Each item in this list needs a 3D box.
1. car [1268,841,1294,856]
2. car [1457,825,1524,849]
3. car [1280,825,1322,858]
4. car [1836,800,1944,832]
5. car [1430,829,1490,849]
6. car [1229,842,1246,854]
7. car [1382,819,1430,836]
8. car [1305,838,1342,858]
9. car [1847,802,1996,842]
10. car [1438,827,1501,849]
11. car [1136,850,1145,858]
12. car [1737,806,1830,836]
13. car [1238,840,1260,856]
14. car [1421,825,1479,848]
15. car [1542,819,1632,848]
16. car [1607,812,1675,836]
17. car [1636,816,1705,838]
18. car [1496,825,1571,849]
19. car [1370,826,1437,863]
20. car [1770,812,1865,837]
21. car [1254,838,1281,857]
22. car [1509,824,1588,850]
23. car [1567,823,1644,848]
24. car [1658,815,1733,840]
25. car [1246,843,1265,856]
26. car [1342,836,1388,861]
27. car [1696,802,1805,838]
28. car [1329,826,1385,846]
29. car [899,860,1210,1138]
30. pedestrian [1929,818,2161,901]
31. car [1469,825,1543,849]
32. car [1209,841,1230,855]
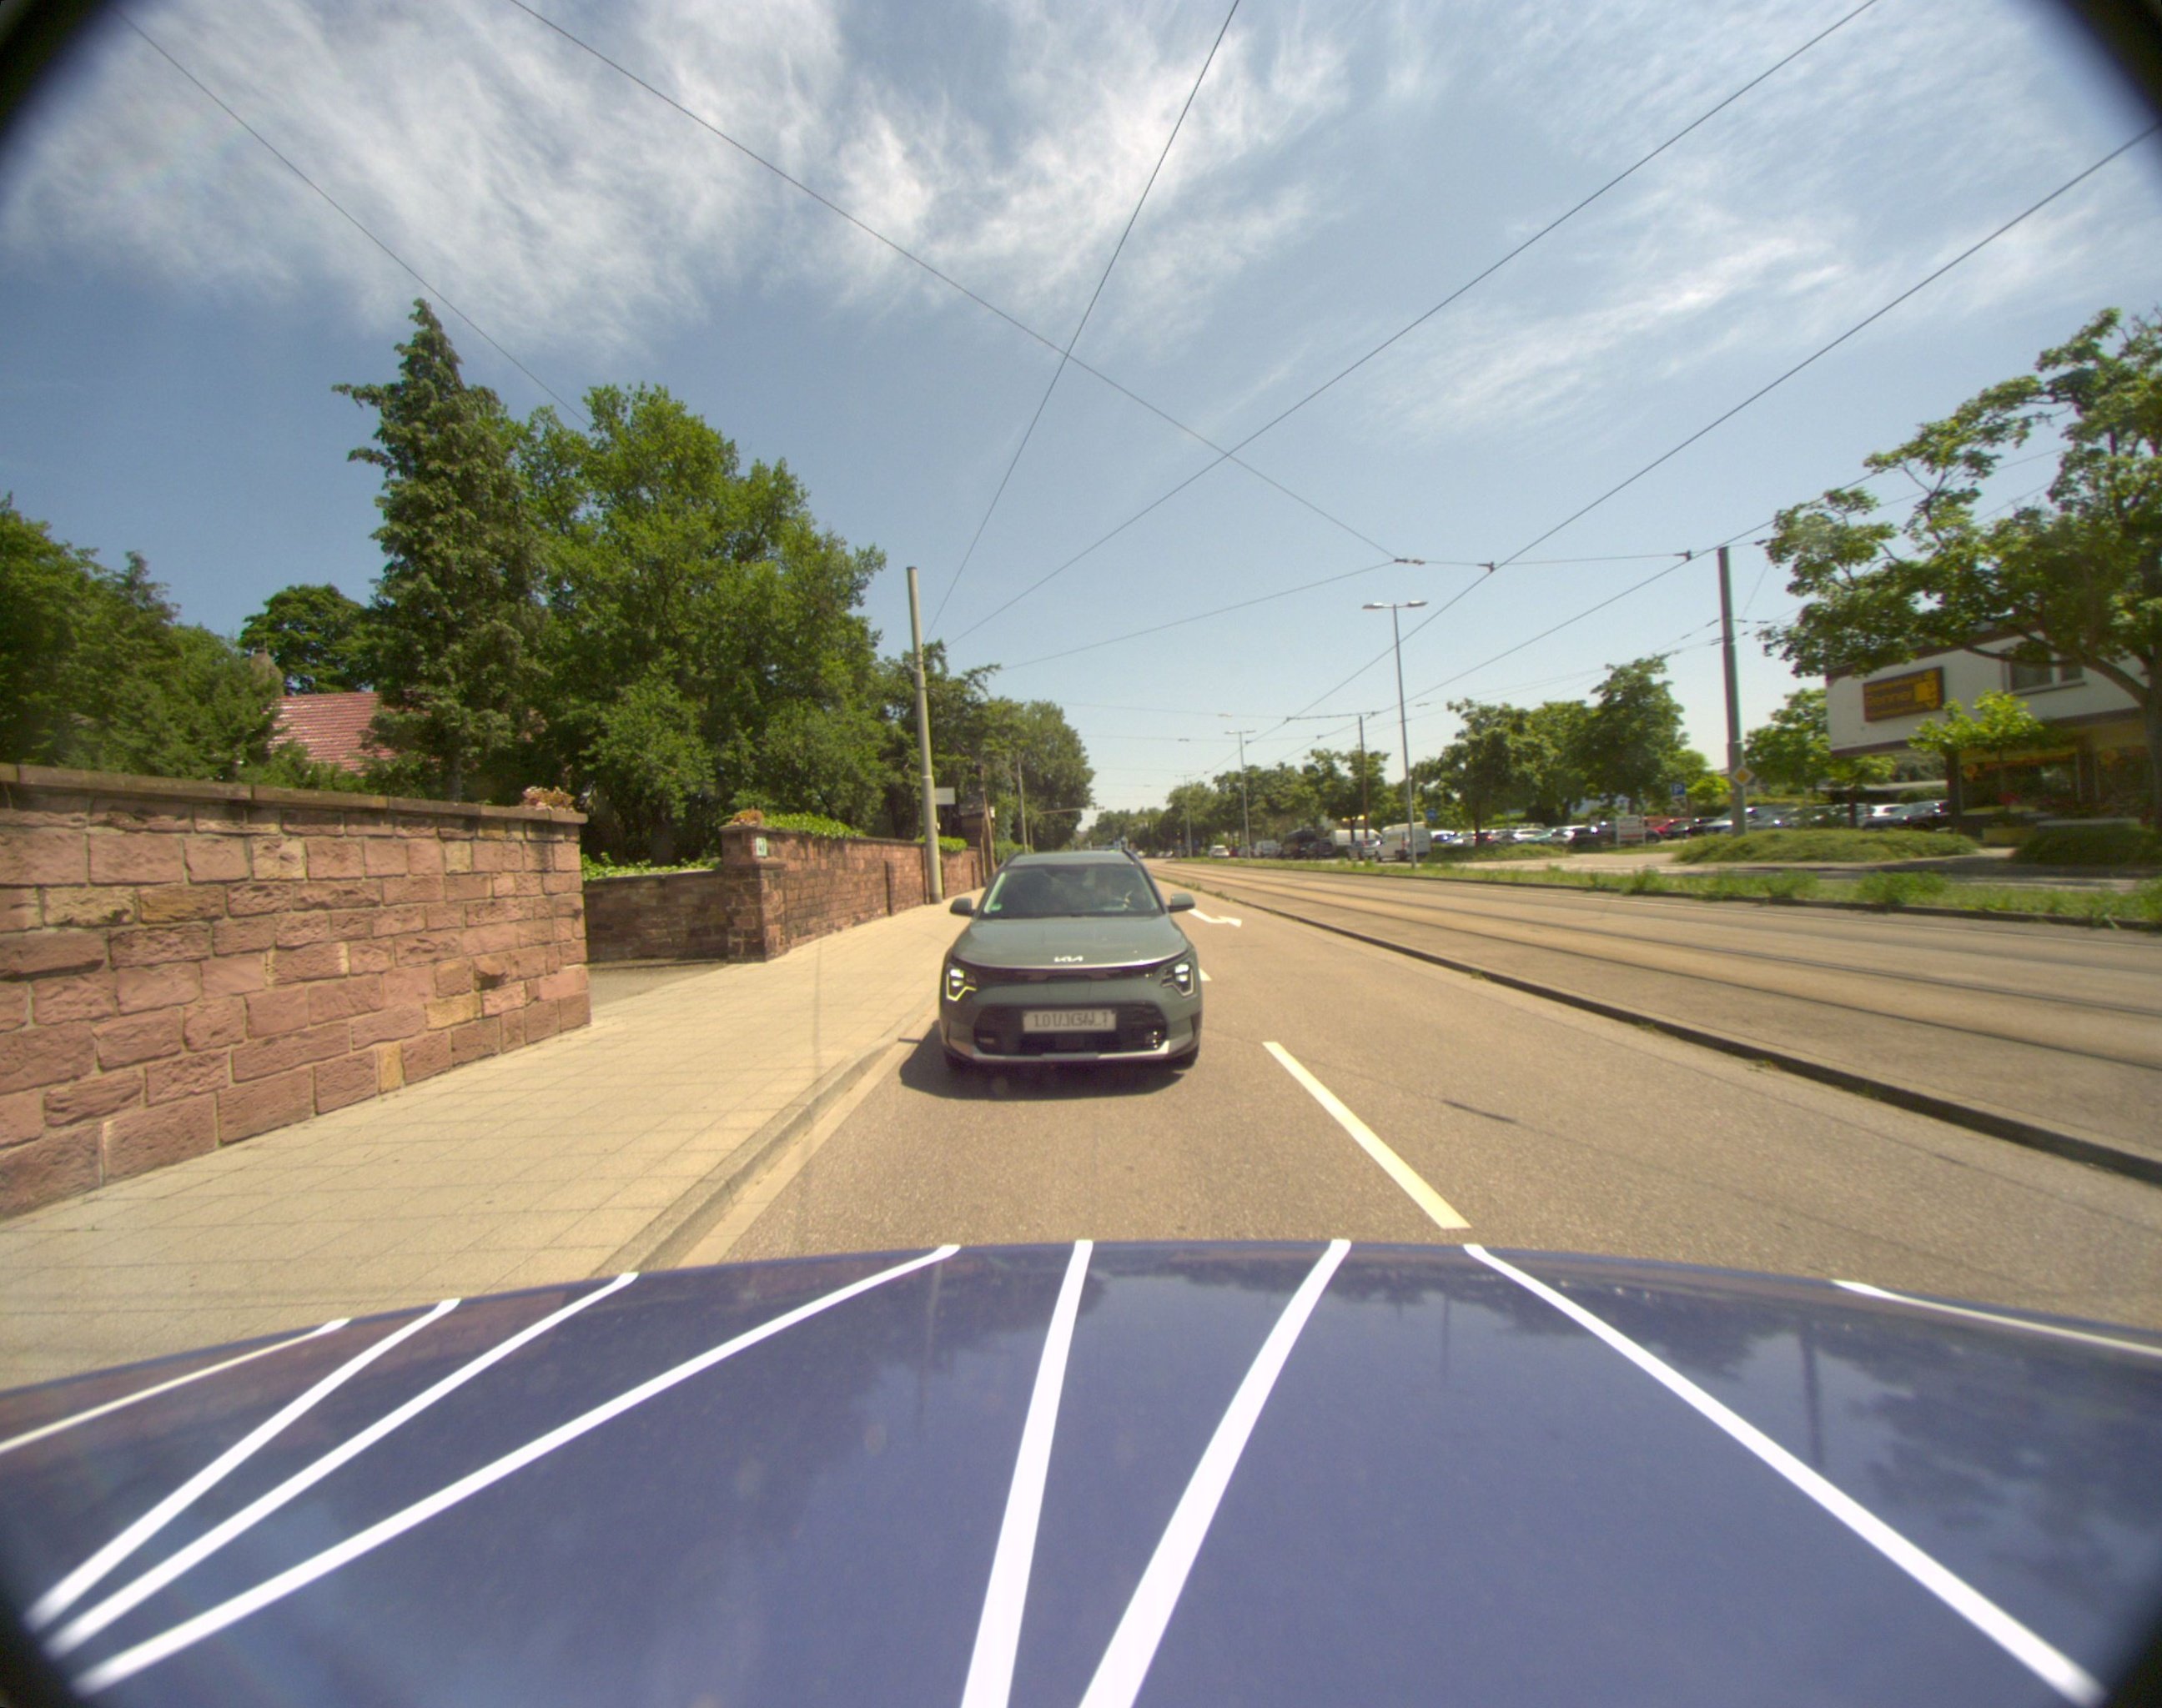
[{"bbox_3d":[20.517,-0.555,78.030,1.767,1.456,3.608,-2,1,2],"label":"car"},{"bbox_3d":[30.810,-1.259,57.164,4.075,1.481,1.831,-3,1,-6],"label":"car"},{"bbox_3d":[20.177,-1.125,69.970,2.244,2.822,5.667,-2,1,1],"label":"car"},{"bbox_3d":[43.877,-2.032,41.276,3.996,1.511,1.661,-2,1,3],"label":"car"},{"bbox_3d":[31.114,-1.233,62.421,3.998,1.398,1.797,-2,0,-3],"label":"car"},{"bbox_3d":[20.667,-0.822,100.617,1.582,1.472,3.423,-2,1,2],"label":"car"},{"bbox_3d":[44.588,-3.604,104.312,5.744,2.051,2.147,-2,1,-2],"label":"car"},{"bbox_3d":[20.260,-0.515,63.614,1.976,1.568,3.751,-2,1,1],"label":"car"},{"bbox_3d":[34.035,-1.281,30.842,3.996,1.289,1.682,-4,0,2],"label":"car"},{"bbox_3d":[30.459,-1.275,59.657,3.999,1.479,1.866,-3,0,-6],"label":"car"},{"bbox_3d":[15.408,-0.025,197.174,1.821,1.979,4.212,-2,1,-3],"label":"car"},{"bbox_3d":[43.234,-2.030,46.838,3.996,1.647,1.803,-2,1,3],"label":"car"},{"bbox_3d":[20.755,-0.775,94.115,1.635,1.882,4.496,-2,1,0],"label":"car"},{"bbox_3d":[31.559,-1.494,65.074,3.998,1.708,1.797,-3,1,-3],"label":"car"},{"bbox_3d":[31.093,-1.224,46.781,4.172,1.481,1.984,-3,0,-1],"label":"car"},{"bbox_3d":[43.680,-2.349,59.274,4.129,1.643,1.692,-3,1,-5],"label":"car"},{"bbox_3d":[44.183,-2.023,56.997,3.999,1.486,1.715,-2,1,-5],"label":"car"},{"bbox_3d":[30.890,-1.173,51.921,4.146,1.481,1.859,-2,1,-6],"label":"car"},{"bbox_3d":[20.015,-0.604,47.436,1.880,1.999,5.344,-6,1,1],"label":"car"},{"bbox_3d":[42.728,-1.712,44.141,3.724,1.277,1.764,-2,1,3],"label":"car"},{"bbox_3d":[20.486,-0.748,83.731,1.924,1.937,4.816,-2,1,2],"label":"car"},{"bbox_3d":[30.369,-1.085,49.465,4.040,1.481,1.911,-2,1,-6],"label":"car"},{"bbox_3d":[30.501,-1.039,44.213,3.423,1.225,1.643,-3,0,-6],"label":"car"},{"bbox_3d":[43.840,-1.896,54.270,3.997,1.576,1.684,-2,1,-1],"label":"car"},{"bbox_3d":[20.526,-0.502,89.423,1.429,1.470,3.262,-2,1,0],"label":"car"},{"bbox_3d":[20.077,-0.403,53.889,1.654,1.494,4.125,-6,1,1],"label":"car"},{"bbox_3d":[43.322,-2.196,49.258,5.120,2.058,2.226,-2,1,1],"label":"car"},{"bbox_3d":[30.545,-1.973,84.147,5.434,1.945,2.029,-2,1,2],"label":"car"},{"bbox_3d":[-0.168,0.891,6.710,1.824,1.577,4.287,-2,0,0],"label":"car"},{"bbox_3d":[26.691,0.095,21.002,1.998,2.002,3.999,-2,1,0],"label":"pedestrian"},{"bbox_3d":[30.380,-1.205,54.333,4.163,1.481,2.022,-3,0,-6],"label":"car"},{"bbox_3d":[16.067,-0.708,88.202,1.728,1.601,4.569,-2,1,1],"label":"car"}]
